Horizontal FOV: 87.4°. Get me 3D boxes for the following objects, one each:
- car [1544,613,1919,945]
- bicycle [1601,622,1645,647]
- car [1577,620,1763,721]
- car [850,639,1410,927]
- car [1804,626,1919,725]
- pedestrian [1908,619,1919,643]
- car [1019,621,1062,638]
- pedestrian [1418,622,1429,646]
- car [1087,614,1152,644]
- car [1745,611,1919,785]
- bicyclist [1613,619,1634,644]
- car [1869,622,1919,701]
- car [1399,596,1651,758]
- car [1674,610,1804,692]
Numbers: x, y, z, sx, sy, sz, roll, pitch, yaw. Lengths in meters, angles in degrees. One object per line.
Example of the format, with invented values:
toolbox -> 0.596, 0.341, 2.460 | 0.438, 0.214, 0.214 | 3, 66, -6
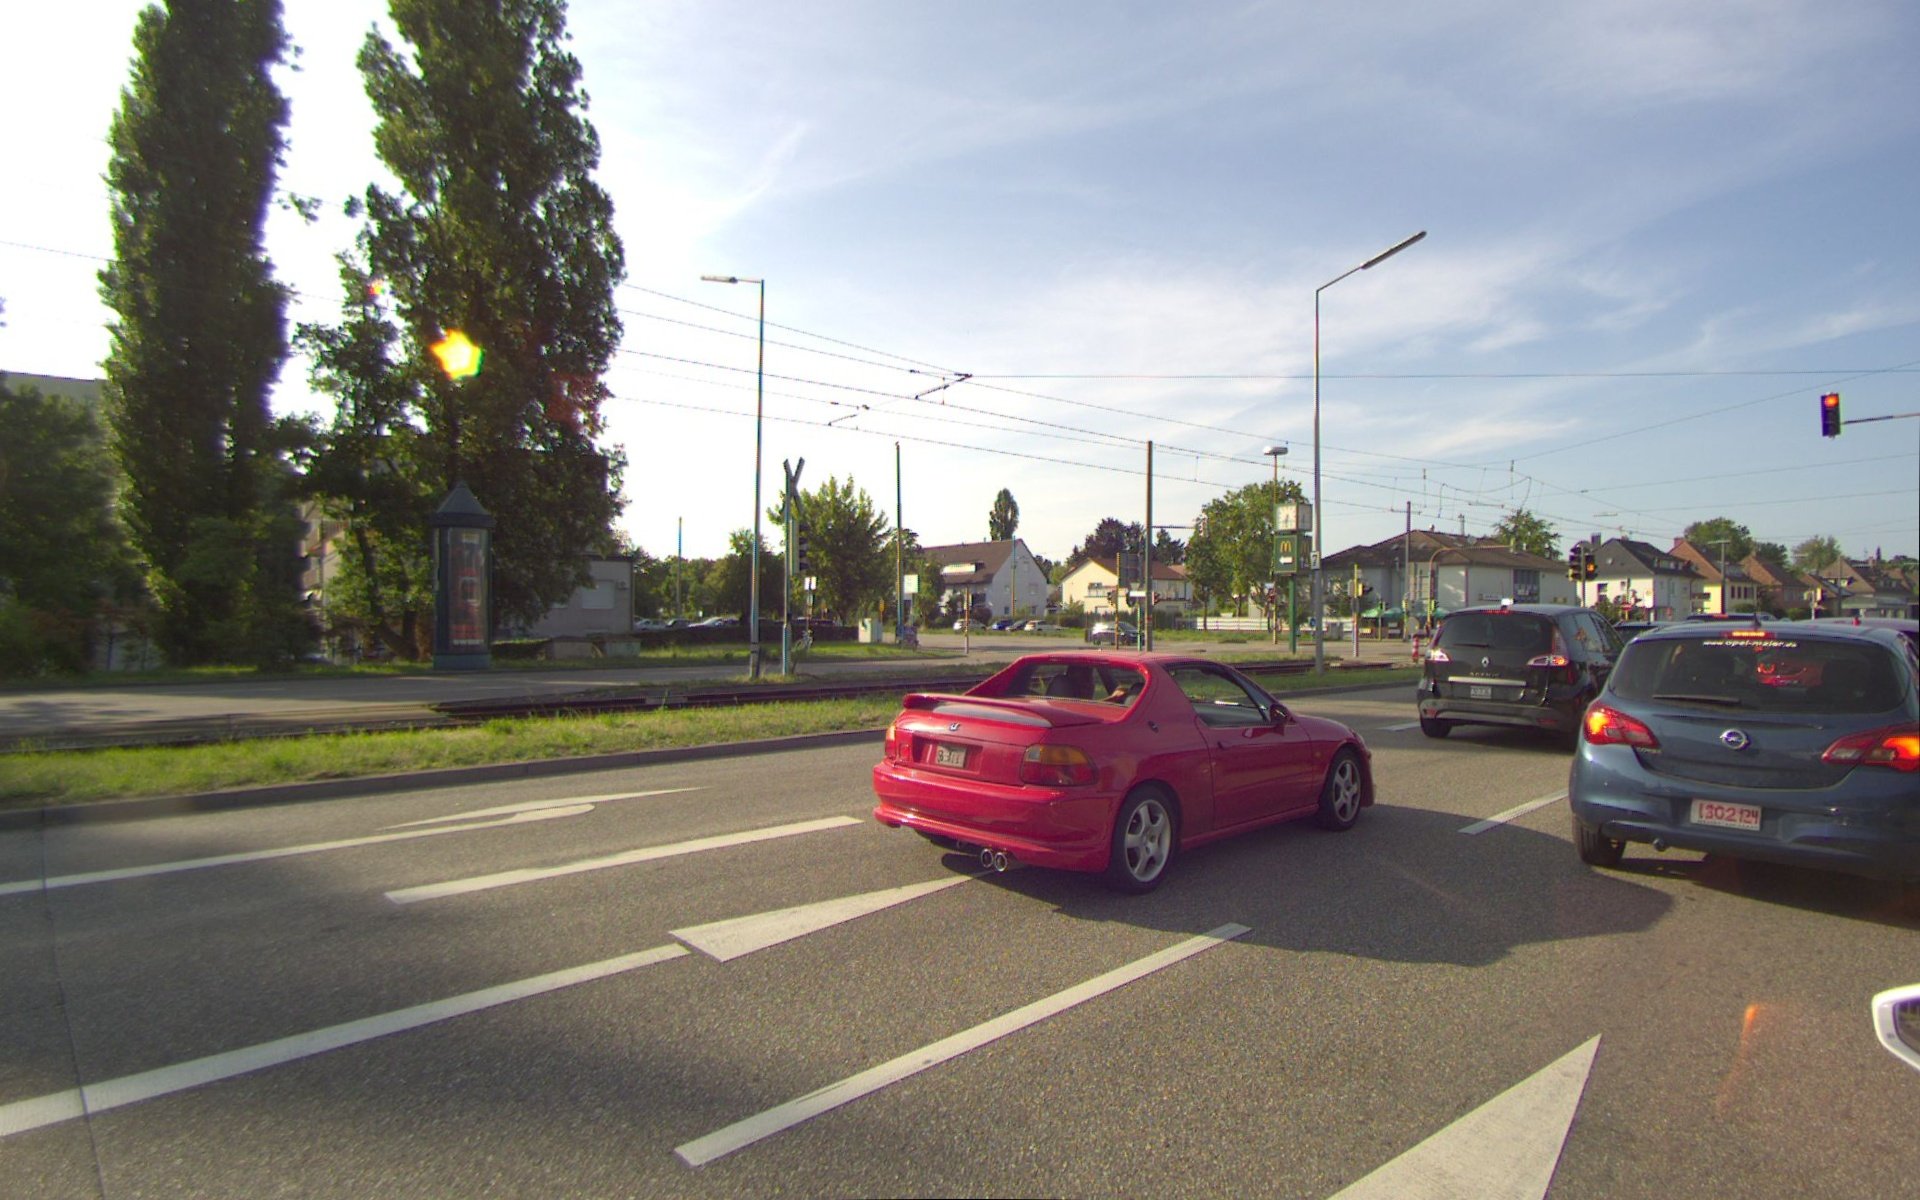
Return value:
car -> 5.411, 0.853, 6.602 | 1.724, 1.525, 4.195 | -1, -1, 45
bicycle -> 38.890, 1.998, 58.963 | 2.049, 1.365, 1.104 | 1, -1, 39
car -> 12.533, 1.132, 17.621 | 4.518, 1.528, 1.685 | 1, -1, -42
car -> 1.316, 0.929, 6.637 | 3.820, 1.222, 1.714 | 1, 0, -44
car -> 14.955, 1.135, 16.151 | 3.799, 1.415, 1.627 | 1, -2, -42
pedestrian -> 59.604, 1.938, 62.558 | 0.820, 1.519, 0.747 | 2, 0, -40
car -> 8.358, 3.056, 104.095 | 4.179, 1.706, 1.980 | 2, -1, -36
pedestrian -> 31.443, 2.295, 68.096 | 0.535, 1.620, 0.507 | 1, -1, -41
car -> 9.889, 1.807, 62.489 | 1.507, 1.816, 3.954 | 1, -1, -40
car -> 9.828, 0.928, 10.810 | 3.952, 1.572, 1.689 | 1, -2, -45
bicyclist -> 38.924, 1.842, 58.928 | 0.873, 1.450, 1.132 | 1, -1, 39
car -> 19.399, 1.178, 20.037 | 3.987, 1.462, 1.640 | 1, -2, -44
car -> 7.177, 0.840, 12.577 | 1.745, 1.693, 4.058 | 0, -1, 45
car -> 17.544, 1.084, 22.539 | 4.709, 1.673, 1.493 | 1, -2, -42
